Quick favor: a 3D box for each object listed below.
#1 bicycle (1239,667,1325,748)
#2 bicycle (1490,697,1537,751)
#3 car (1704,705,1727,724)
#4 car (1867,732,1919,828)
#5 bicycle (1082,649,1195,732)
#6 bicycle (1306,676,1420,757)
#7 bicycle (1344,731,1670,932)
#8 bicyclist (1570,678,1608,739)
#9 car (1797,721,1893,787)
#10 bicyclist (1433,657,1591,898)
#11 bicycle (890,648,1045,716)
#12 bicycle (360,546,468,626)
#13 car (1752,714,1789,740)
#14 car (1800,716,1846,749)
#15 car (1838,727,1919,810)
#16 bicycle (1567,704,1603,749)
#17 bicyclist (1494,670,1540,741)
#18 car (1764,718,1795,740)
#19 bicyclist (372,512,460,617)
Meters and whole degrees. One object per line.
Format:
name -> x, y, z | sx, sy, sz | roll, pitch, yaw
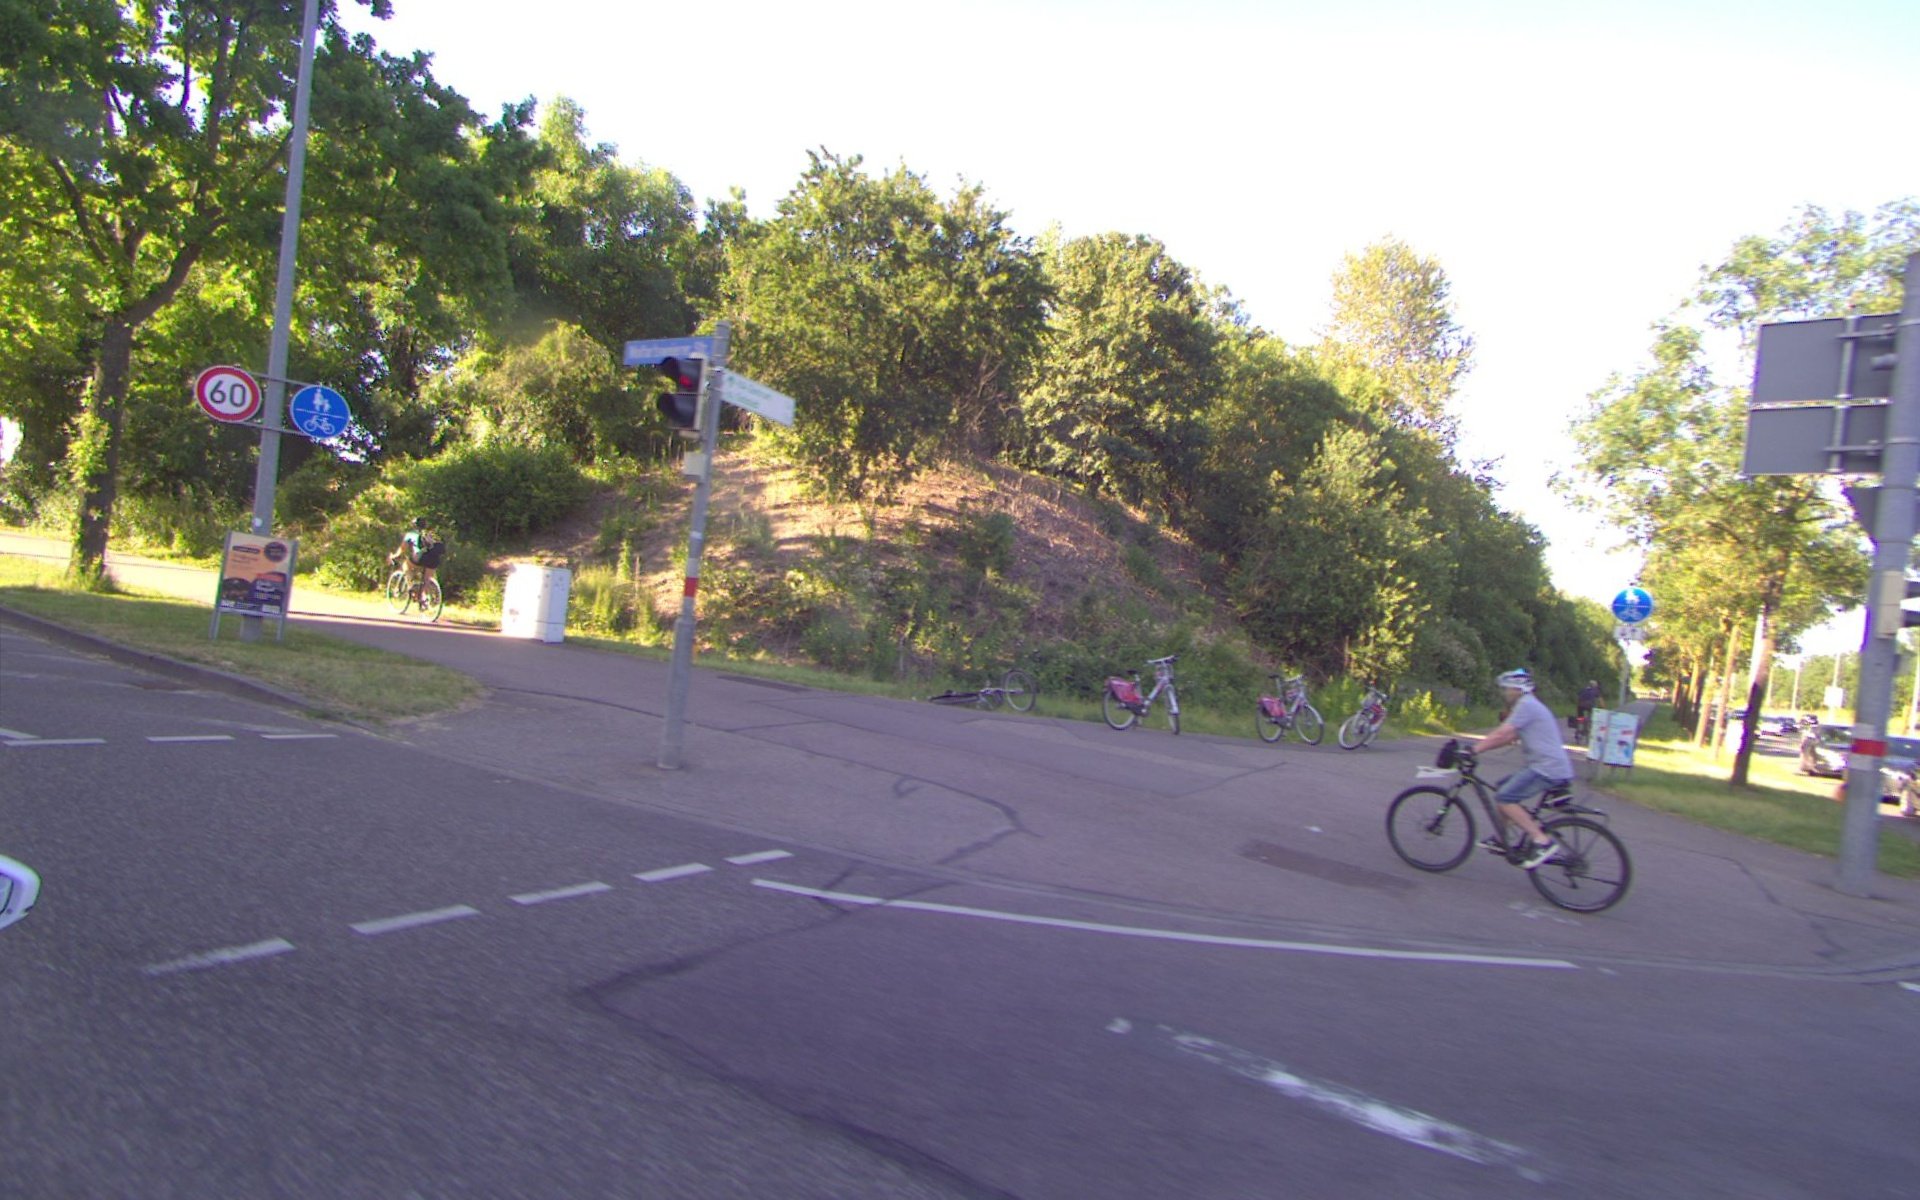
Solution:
bicycle -> 5.030, 1.679, 15.662 | 0.448, 1.160, 1.649 | 8, 1, 45
bicycle -> 13.022, 2.885, 23.629 | 0.688, 1.049, 2.257 | 10, 2, 32
car -> 71.767, 10.822, 95.630 | 1.597, 1.548, 3.841 | 5, -1, 37
car -> 18.465, 3.413, 18.469 | 1.813, 1.548, 3.912 | 5, -1, 30
bicycle -> 2.574, 1.303, 14.334 | 0.448, 1.066, 1.985 | 8, 0, 44
bicycle -> 6.552, 1.887, 16.287 | 2.248, 1.120, 0.690 | 7, 3, -43
bicycle -> 4.108, 1.691, 7.687 | 2.012, 1.004, 0.572 | 8, 1, 32
bicyclist -> 17.717, 3.035, 28.343 | 0.688, 1.568, 0.813 | 10, 3, 33
car -> 26.706, 4.607, 30.459 | 1.766, 1.548, 3.841 | 5, -1, 37
bicyclist -> 4.202, 1.307, 7.673 | 0.851, 1.630, 0.565 | 7, 1, 32
bicycle -> 0.095, 1.188, 14.757 | 2.156, 0.630, 0.841 | 8, 2, -2
bicycle -> -8.914, -0.241, 16.389 | 1.903, 1.086, 0.517 | 7, 1, 29
car -> 67.995, 10.608, 84.454 | 1.822, 1.828, 3.992 | 6, -2, 33
car -> 48.845, 7.474, 56.984 | 1.597, 1.548, 3.841 | 5, -1, 37
car -> 21.589, 3.848, 23.072 | 1.747, 1.548, 4.126 | 5, -1, 37
bicycle -> 17.688, 3.552, 28.444 | 0.688, 1.049, 2.257 | 10, 2, 32
bicyclist -> 13.001, 2.437, 23.473 | 0.688, 1.528, 0.663 | 10, 3, 33
car -> 82.721, 13.003, 101.582 | 1.822, 1.828, 3.992 | 6, -2, 33
bicyclist -> -8.823, -0.573, 16.322 | 1.018, 1.541, 0.686 | 7, 1, 29
